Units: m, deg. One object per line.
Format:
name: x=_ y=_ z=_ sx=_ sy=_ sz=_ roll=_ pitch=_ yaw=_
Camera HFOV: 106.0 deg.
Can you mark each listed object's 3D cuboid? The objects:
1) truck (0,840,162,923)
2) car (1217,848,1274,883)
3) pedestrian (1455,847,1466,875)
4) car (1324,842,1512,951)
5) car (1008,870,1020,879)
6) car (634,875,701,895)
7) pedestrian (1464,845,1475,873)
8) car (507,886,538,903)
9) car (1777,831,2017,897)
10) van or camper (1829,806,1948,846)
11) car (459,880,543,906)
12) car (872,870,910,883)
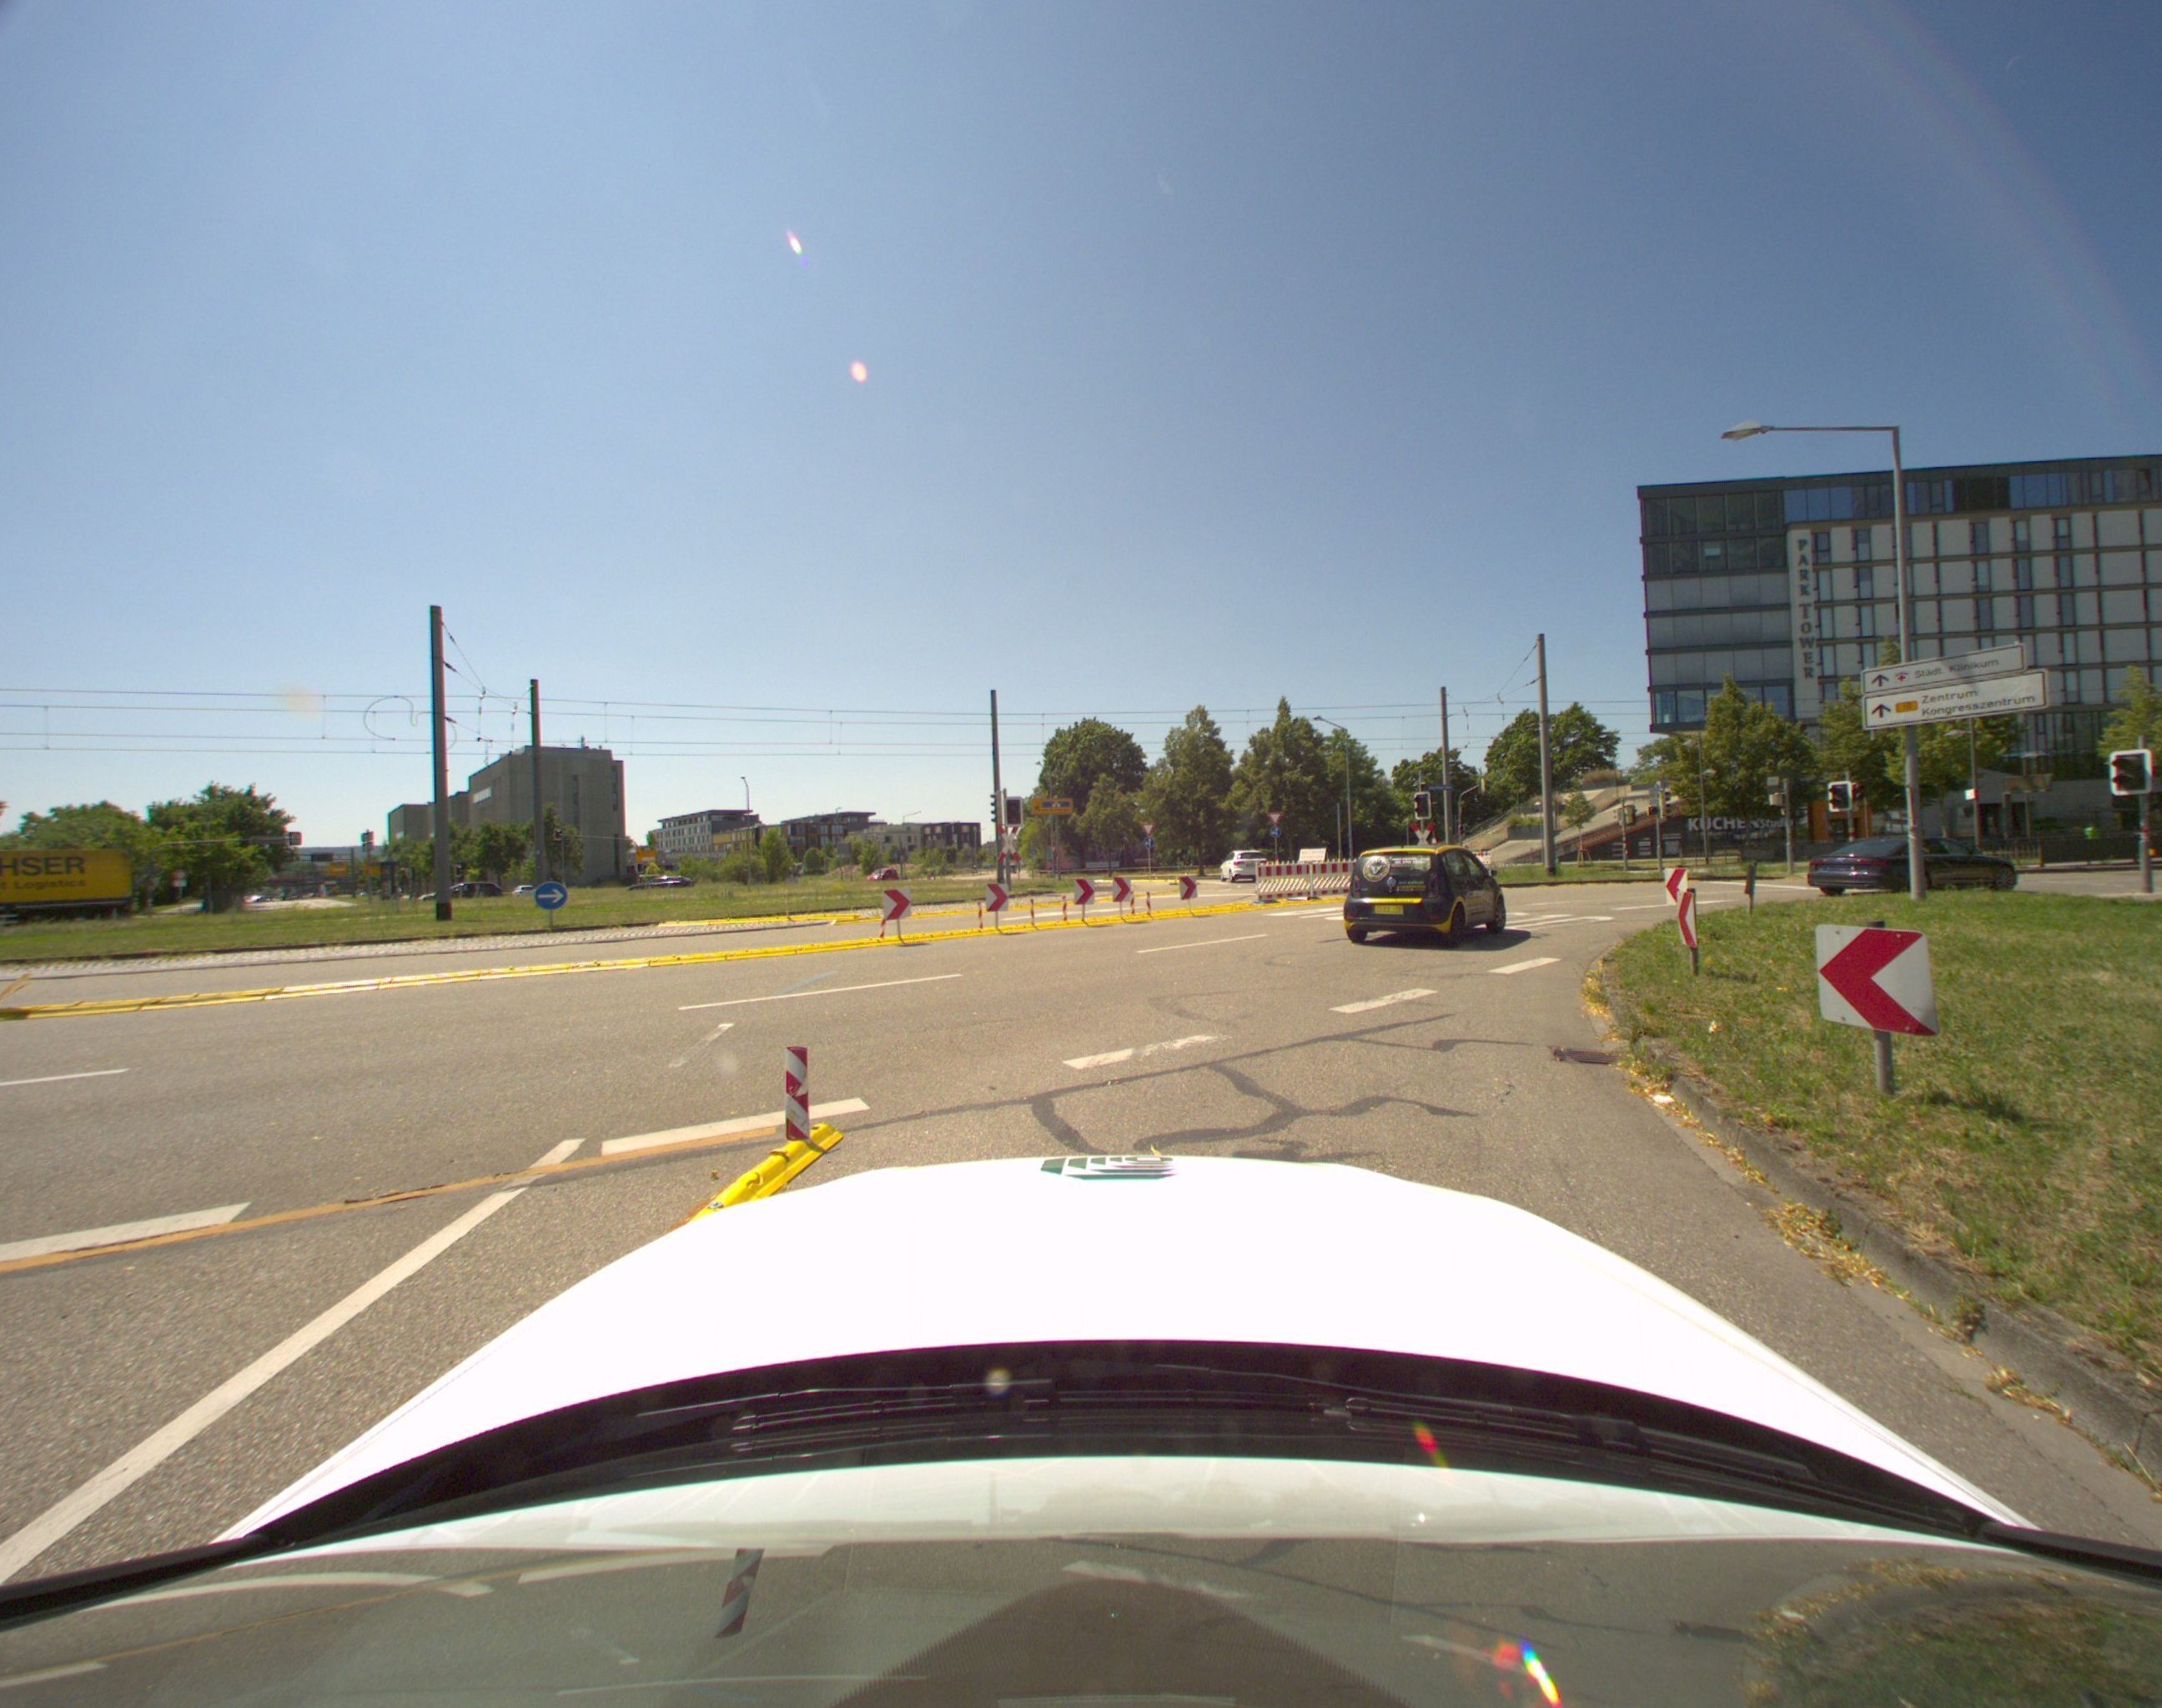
truck: x=-48.623 y=1.242 z=36.338 sx=2.673 sy=3.659 sz=9.673 roll=-2 pitch=0 yaw=27
car: x=7.738 y=0.533 z=38.581 sx=1.985 sy=1.486 sz=4.370 roll=-2 pitch=0 yaw=3
pedestrian: x=23.760 y=0.416 z=50.984 sx=0.446 sy=1.739 sz=0.291 roll=-2 pitch=-1 yaw=2
car: x=5.450 y=0.570 z=12.868 sx=1.603 sy=1.451 sz=4.011 roll=-2 pitch=-1 yaw=40
car: x=-11.075 y=3.341 z=135.221 sx=1.653 sy=1.372 sz=3.031 roll=-2 pitch=-1 yaw=0
car: x=-32.330 y=2.383 z=63.863 sx=4.487 sy=1.319 sz=1.985 roll=-2 pitch=0 yaw=-23
pedestrian: x=24.326 y=0.329 z=51.001 sx=0.446 sy=1.739 sz=0.318 roll=-2 pitch=-1 yaw=2
car: x=-59.172 y=4.268 z=86.244 sx=2.012 sy=1.618 sz=3.950 roll=1 pitch=-2 yaw=-45
car: x=19.604 y=0.216 z=19.623 sx=4.641 sy=1.449 sz=1.990 roll=-1 pitch=-1 yaw=-14
van or camper: x=62.466 y=-2.116 z=63.090 sx=6.742 sy=2.822 sz=2.383 roll=-2 pitch=-1 yaw=0
car: x=-37.395 y=2.488 z=52.564 sx=1.707 sy=1.461 sz=4.074 roll=-2 pitch=-1 yaw=37
car: x=-17.673 y=2.057 z=75.868 sx=1.479 sy=1.089 sz=3.541 roll=-2 pitch=0 yaw=26
